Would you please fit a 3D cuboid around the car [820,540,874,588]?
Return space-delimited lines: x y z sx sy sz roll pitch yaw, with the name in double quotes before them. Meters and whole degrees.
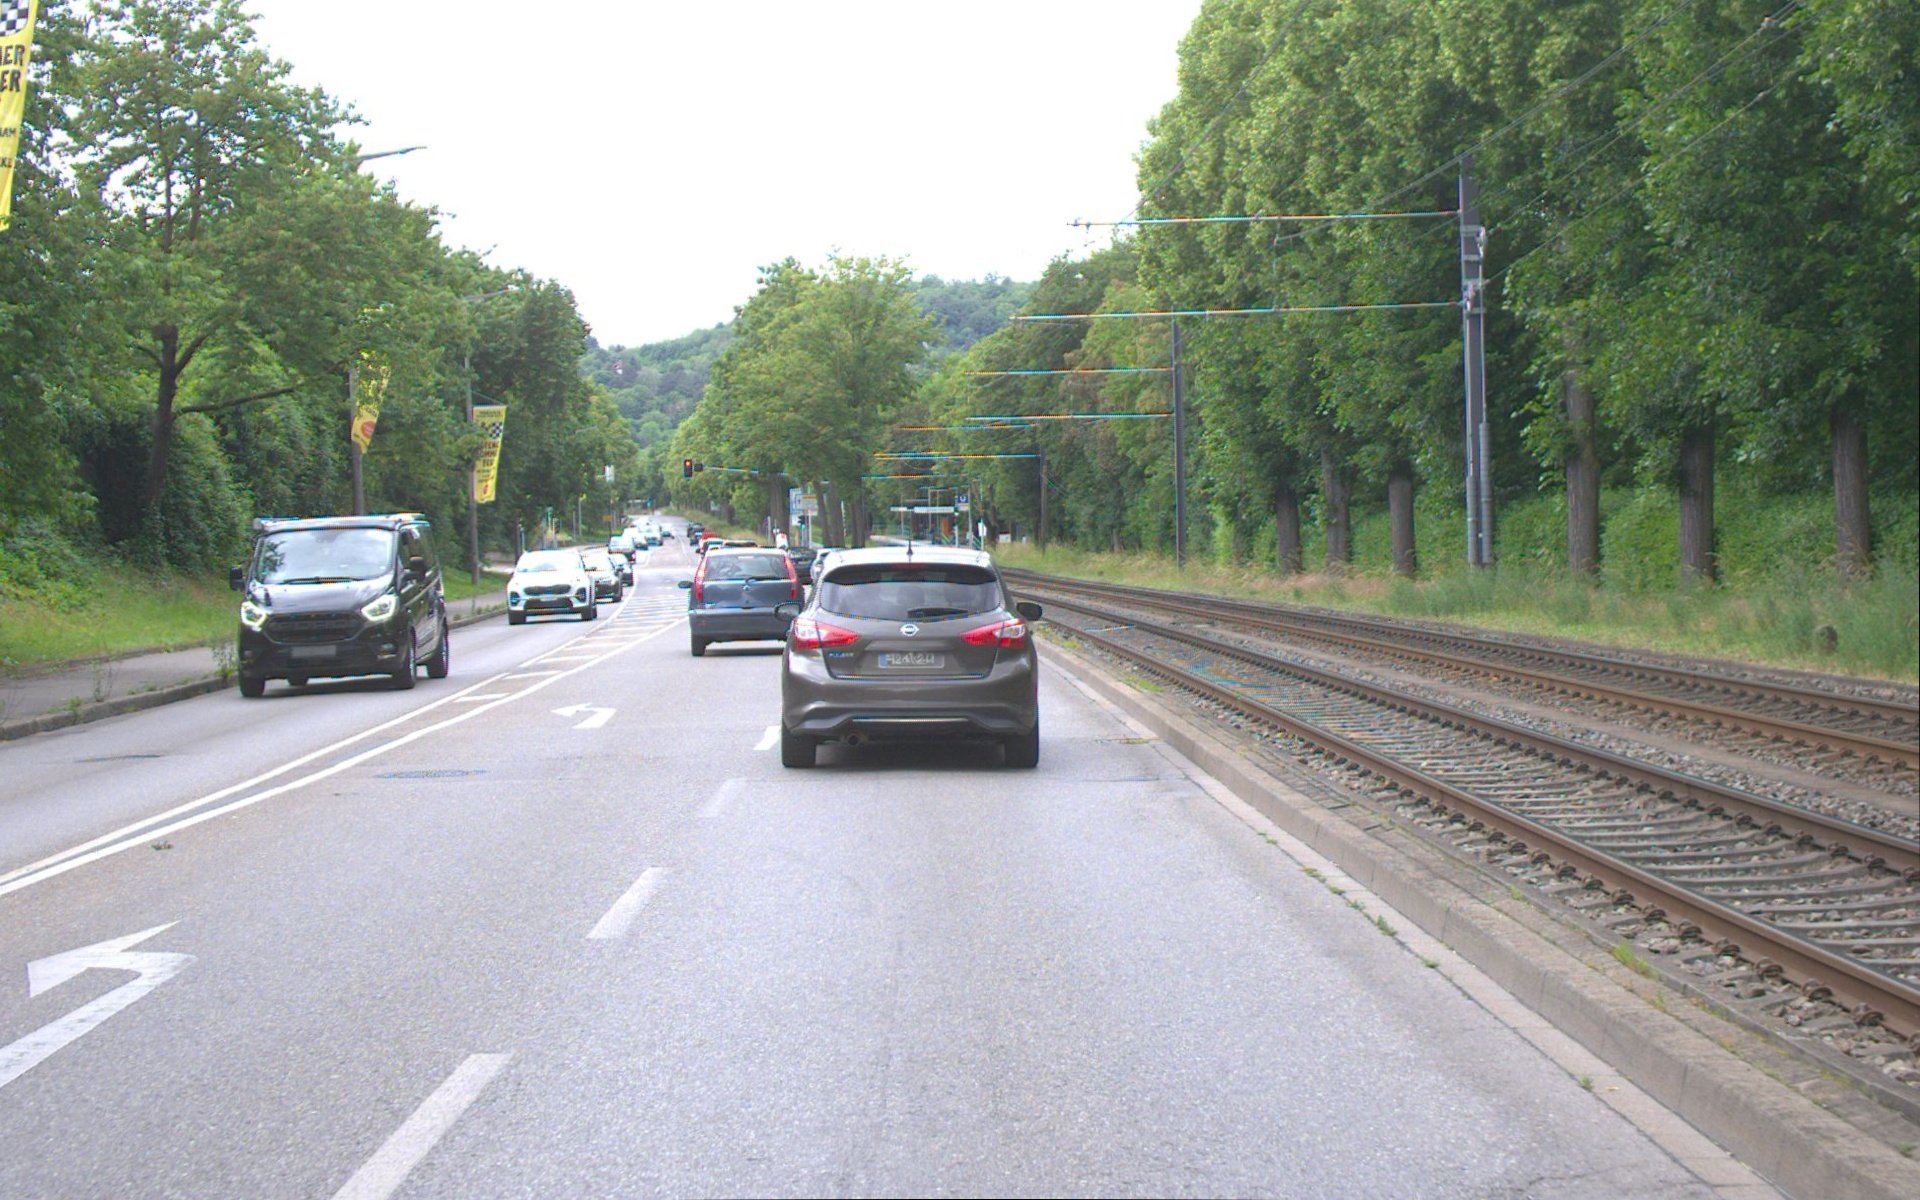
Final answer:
"car" -3.720 -1.162 113.251 1.715 1.545 4.000 0 0 -2

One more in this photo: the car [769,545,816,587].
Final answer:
"car" -6.287 -1.258 129.440 1.715 1.545 4.000 0 0 -2

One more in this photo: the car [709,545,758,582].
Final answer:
"car" -9.507 -1.540 144.293 1.794 1.505 4.000 0 1 0

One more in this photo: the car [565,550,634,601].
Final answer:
"car" -10.862 -0.753 103.786 1.766 1.395 4.216 -3 1 -3

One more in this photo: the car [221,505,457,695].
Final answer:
"car" -7.308 -0.039 40.946 1.993 2.029 5.116 -3 1 -2

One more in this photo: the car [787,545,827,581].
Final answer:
"car" -6.780 -1.633 152.285 1.715 1.545 4.000 0 0 -2

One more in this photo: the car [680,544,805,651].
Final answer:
"car" -3.062 -0.067 48.835 1.699 1.438 4.001 0 1 -3

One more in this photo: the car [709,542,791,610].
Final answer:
"car" -4.591 -0.547 75.558 1.699 1.438 4.000 0 1 -2

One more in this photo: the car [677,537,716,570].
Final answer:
"car" -13.597 -2.404 177.629 1.700 1.708 4.000 0 1 0

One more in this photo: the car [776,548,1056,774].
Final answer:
"car" -0.308 0.372 24.762 1.850 1.488 4.000 0 1 0

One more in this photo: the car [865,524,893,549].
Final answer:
"car" -5.517 -4.293 233.941 1.715 1.657 3.708 0 0 -4

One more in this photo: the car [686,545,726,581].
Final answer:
"car" -12.379 -1.824 167.770 1.700 1.708 4.000 0 1 0

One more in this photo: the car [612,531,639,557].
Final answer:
"car" -23.350 -3.885 240.213 1.715 1.754 4.001 0 0 -4

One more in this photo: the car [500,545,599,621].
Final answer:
"car" -9.253 -0.404 77.792 1.841 1.615 4.160 -2 1 -2
